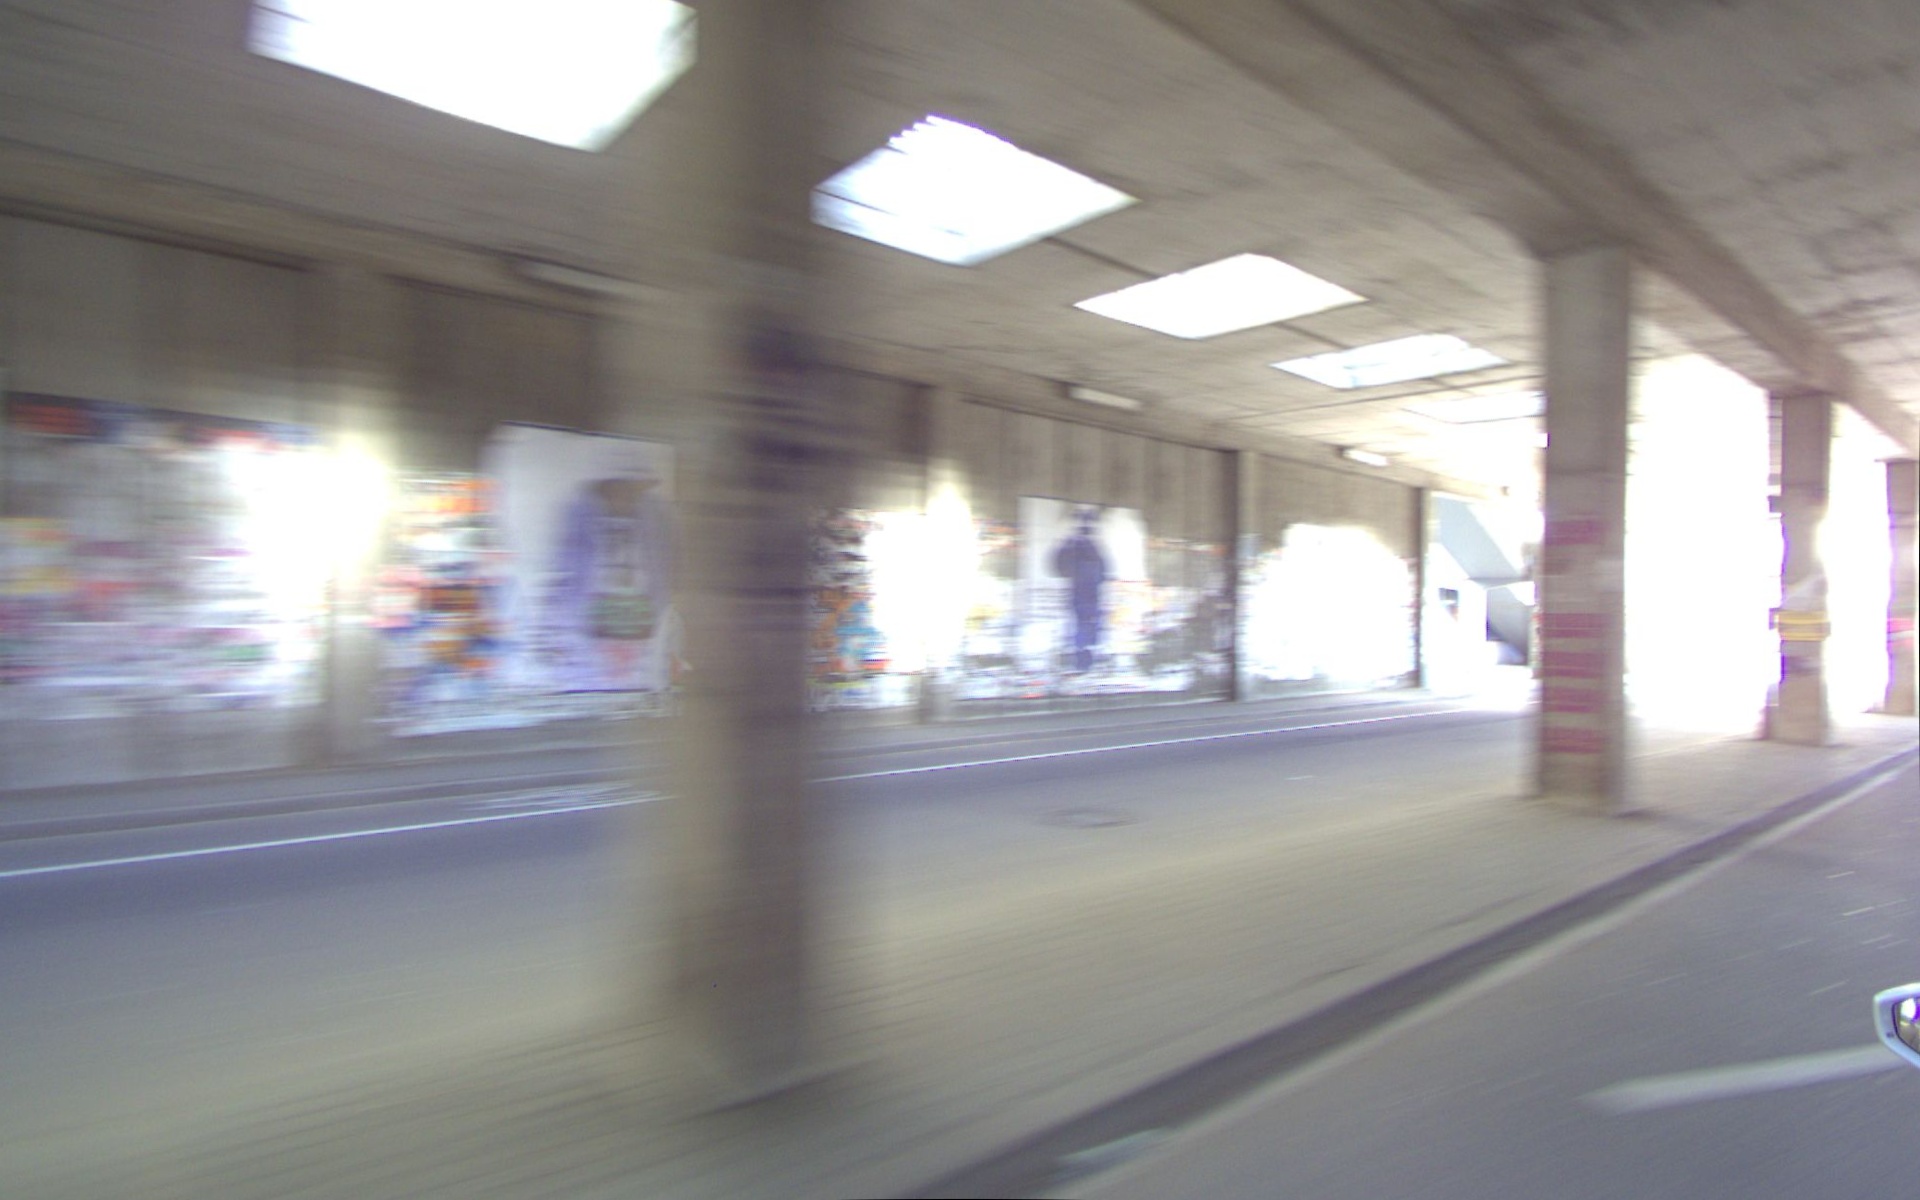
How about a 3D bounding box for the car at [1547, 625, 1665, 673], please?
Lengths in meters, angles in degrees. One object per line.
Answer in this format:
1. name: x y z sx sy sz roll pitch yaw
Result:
1. car: 31.110 2.306 48.484 1.983 2.041 4.444 -1 1 -39
